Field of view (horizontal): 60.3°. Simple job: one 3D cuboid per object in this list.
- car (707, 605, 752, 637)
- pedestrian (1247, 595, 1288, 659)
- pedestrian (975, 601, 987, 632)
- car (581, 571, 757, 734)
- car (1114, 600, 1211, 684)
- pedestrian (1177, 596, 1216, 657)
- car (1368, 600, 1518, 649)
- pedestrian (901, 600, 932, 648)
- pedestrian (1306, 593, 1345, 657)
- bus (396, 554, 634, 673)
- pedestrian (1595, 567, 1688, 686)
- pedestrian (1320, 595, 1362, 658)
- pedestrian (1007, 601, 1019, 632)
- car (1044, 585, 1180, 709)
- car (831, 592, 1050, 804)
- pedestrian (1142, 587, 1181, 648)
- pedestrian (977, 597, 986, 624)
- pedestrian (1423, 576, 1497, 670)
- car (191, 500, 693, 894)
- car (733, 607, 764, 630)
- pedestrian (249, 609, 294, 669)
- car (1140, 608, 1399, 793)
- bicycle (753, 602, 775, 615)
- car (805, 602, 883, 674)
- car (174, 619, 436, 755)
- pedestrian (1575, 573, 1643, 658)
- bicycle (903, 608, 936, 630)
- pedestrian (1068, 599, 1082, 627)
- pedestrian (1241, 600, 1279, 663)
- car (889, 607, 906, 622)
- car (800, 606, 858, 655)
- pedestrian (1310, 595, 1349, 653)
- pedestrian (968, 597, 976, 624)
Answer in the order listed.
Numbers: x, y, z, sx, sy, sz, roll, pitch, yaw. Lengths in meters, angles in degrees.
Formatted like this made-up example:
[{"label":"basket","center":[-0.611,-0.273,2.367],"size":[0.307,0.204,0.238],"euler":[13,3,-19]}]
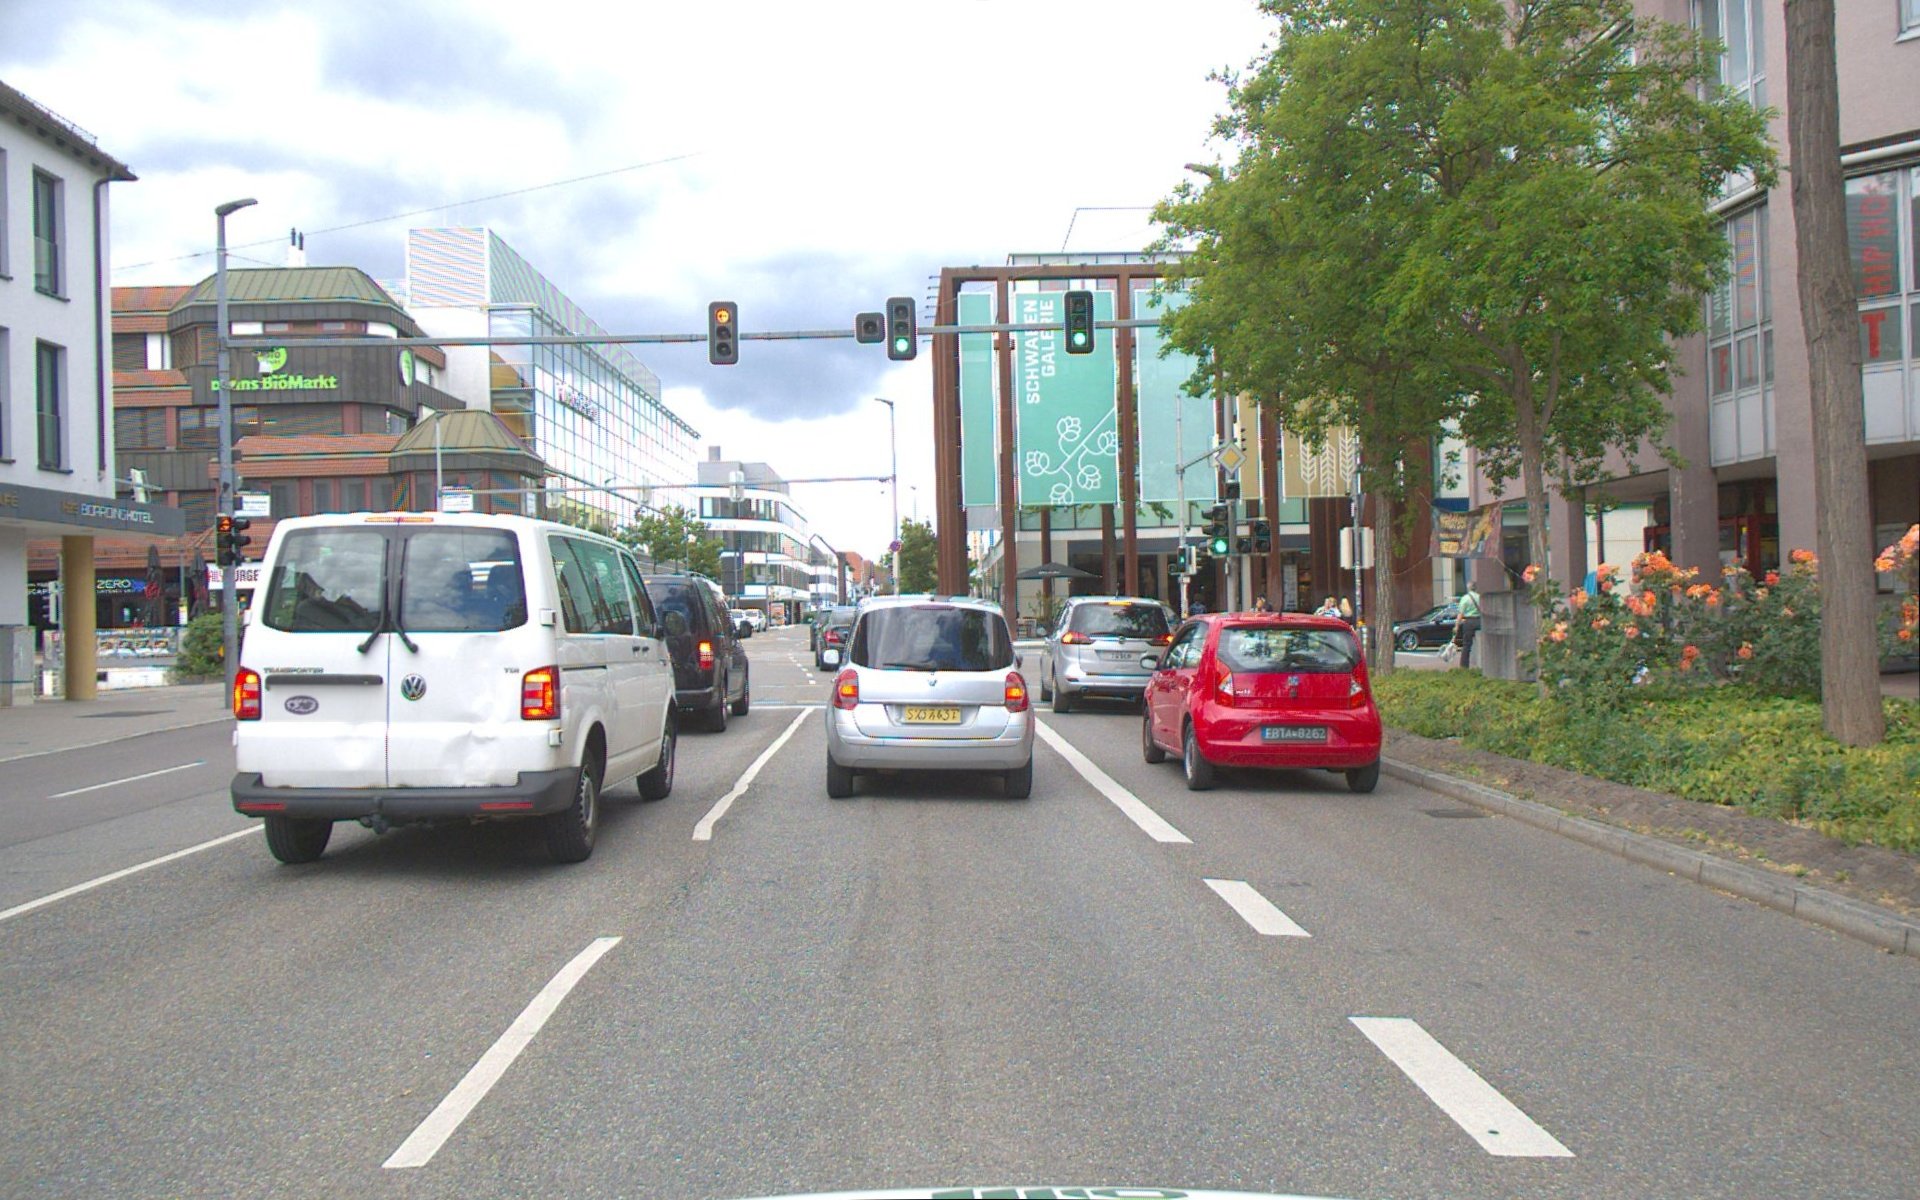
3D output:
[{"label":"car","center":[-11.485,1.035,82.630],"size":[1.709,1.484,4.233],"euler":[-2,0,-2]},{"label":"pedestrian","center":[8.836,0.777,47.517],"size":[0.861,1.798,1.119],"euler":[-2,0,-5]},{"label":"pedestrian","center":[0.867,0.669,67.849],"size":[0.438,1.241,0.606],"euler":[-1,0,1]},{"label":"car","center":[-3.592,0.604,21.108],"size":[1.674,1.852,4.568],"euler":[0,0,-3]},{"label":"car","center":[4.343,0.826,34.985],"size":[1.811,1.637,4.865],"euler":[0,0,10]},{"label":"pedestrian","center":[6.777,0.753,47.454],"size":[0.861,1.711,1.119],"euler":[-2,0,-5]},{"label":"car","center":[14.868,0.742,51.033],"size":[4.090,1.429,1.799],"euler":[-1,0,-5]},{"label":"pedestrian","center":[-1.576,0.864,59.765],"size":[0.854,1.675,0.678],"euler":[-1,0,33]},{"label":"pedestrian","center":[9.677,0.654,43.829],"size":[0.727,1.654,0.952],"euler":[-2,0,-5]},{"label":"bus","center":[-14.604,0.321,55.899],"size":[2.924,3.385,12.317],"euler":[-4,0,8]},{"label":"pedestrian","center":[9.824,0.376,23.882],"size":[0.792,1.654,1.092],"euler":[-2,0,-4]},{"label":"pedestrian","center":[11.247,0.774,48.820],"size":[0.861,1.798,1.119],"euler":[-2,0,-5]},{"label":"pedestrian","center":[2.168,0.673,67.818],"size":[0.438,1.241,0.607],"euler":[-1,0,2]},{"label":"car","center":[2.235,0.657,25.285],"size":[1.704,1.731,4.381],"euler":[0,0,0]},{"label":"car","center":[-0.191,0.737,14.215],"size":[1.636,1.581,3.641],"euler":[0,0,-2]},{"label":"pedestrian","center":[5.751,0.489,47.370],"size":[0.861,1.711,1.119],"euler":[-2,0,-5]},{"label":"pedestrian","center":[1.264,0.634,96.745],"size":[0.418,1.576,0.481],"euler":[-2,0,-4]},{"label":"pedestrian","center":[9.637,0.436,31.911],"size":[1.035,1.745,1.109],"euler":[-1,0,-3]},{"label":"car","center":[-3.090,0.505,11.063],"size":[1.953,2.049,4.838],"euler":[0,0,-2]},{"label":"car","center":[-14.238,1.230,111.574],"size":[1.626,1.491,3.999],"euler":[-3,0,-1]},{"label":"pedestrian","center":[-20.994,1.171,50.455],"size":[0.929,1.786,0.944],"euler":[-1,0,0]},{"label":"car","center":[2.689,0.818,15.122],"size":[1.593,1.473,3.641],"euler":[0,0,-2]},{"label":"bicycle","center":[-16.606,0.734,140.055],"size":[0.993,1.036,3.105],"euler":[1,0,-25]},{"label":"car","center":[-2.661,0.845,38.591],"size":[1.636,1.581,3.641],"euler":[0,0,-2]},{"label":"car","center":[-8.060,1.009,20.770],"size":[1.723,1.474,4.034],"euler":[-2,-1,-1]},{"label":"pedestrian","center":[12.650,0.305,32.271],"size":[0.814,1.612,1.057],"euler":[-1,0,-6]},{"label":"bicycle","center":[-1.983,0.944,81.225],"size":[1.528,1.010,0.752],"euler":[-2,0,1]},{"label":"pedestrian","center":[5.073,0.573,73.133],"size":[0.505,1.229,0.795],"euler":[-2,1,-4]},{"label":"pedestrian","center":[8.157,0.851,45.019],"size":[0.727,1.654,0.952],"euler":[-2,0,-5]},{"label":"car","center":[-6.772,1.561,179.638],"size":[1.626,1.491,3.999],"euler":[-3,0,-1]},{"label":"car","center":[-4.145,0.947,52.834],"size":[1.636,1.521,3.641],"euler":[0,0,-2]},{"label":"pedestrian","center":[10.577,0.691,47.375],"size":[0.805,1.623,1.038],"euler":[-1,0,-4]},{"label":"pedestrian","center":[0.714,0.633,96.603],"size":[0.418,1.576,0.481],"euler":[-2,0,-4]}]
